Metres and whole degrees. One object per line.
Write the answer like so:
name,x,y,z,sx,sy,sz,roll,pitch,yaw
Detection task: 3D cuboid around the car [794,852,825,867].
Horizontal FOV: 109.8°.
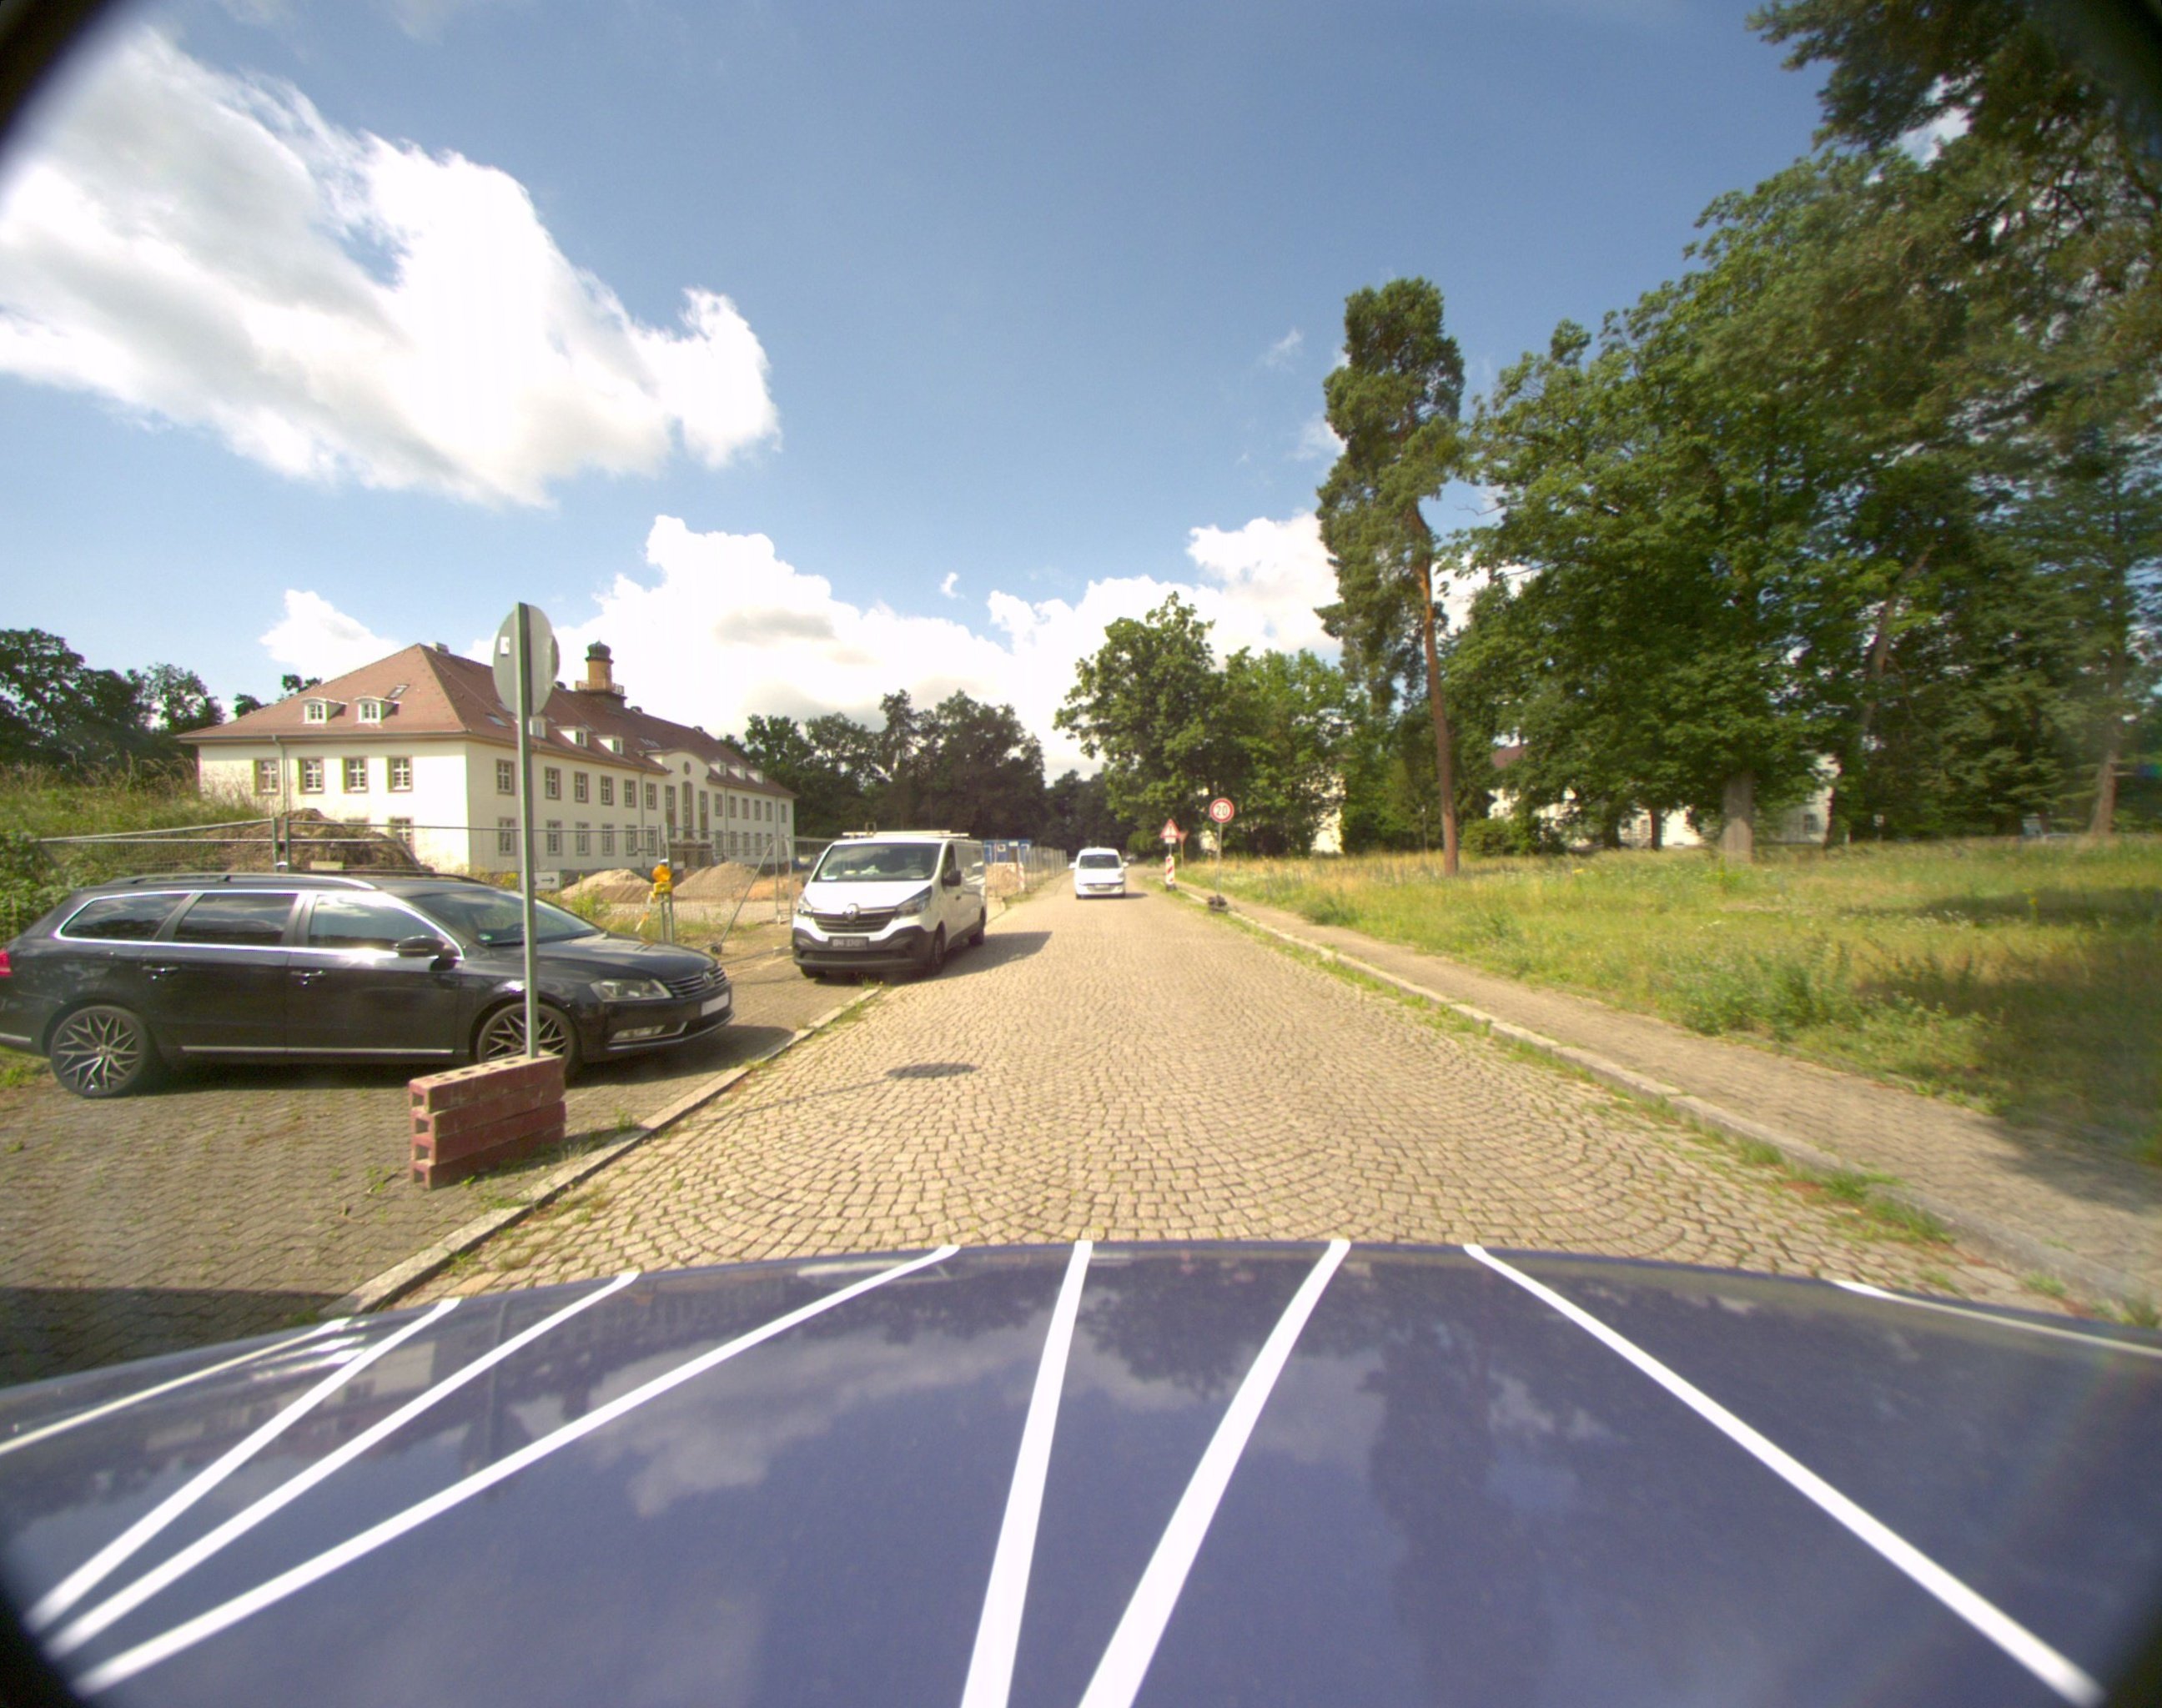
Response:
car,-33.187,0.699,92.966,1.884,1.718,4.708,-1,1,2

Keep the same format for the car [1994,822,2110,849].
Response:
car,54.398,-1.008,42.615,4.068,1.404,1.900,-1,1,0

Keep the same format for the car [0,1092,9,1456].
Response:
car,-5.147,1.016,1.305,3.997,1.498,1.746,0,1,-2

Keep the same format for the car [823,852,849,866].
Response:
car,-30.007,0.591,93.194,1.802,1.674,4.040,-1,1,2

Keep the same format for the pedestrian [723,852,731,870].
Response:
pedestrian,-34.933,0.694,74.889,0.491,1.777,0.506,-2,1,-2

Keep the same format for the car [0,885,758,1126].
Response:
car,-5.115,1.026,5.882,4.466,1.467,1.745,0,1,-3

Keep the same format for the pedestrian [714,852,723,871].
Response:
pedestrian,-35.063,0.712,73.434,0.490,1.777,0.507,-1,1,24

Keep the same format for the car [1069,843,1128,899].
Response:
car,0.550,0.596,28.023,1.839,1.857,4.830,-1,-1,-3

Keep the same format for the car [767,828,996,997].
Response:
car,-2.757,0.682,12.108,1.918,2.041,5.678,-1,1,2

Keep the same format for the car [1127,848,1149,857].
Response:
car,10.491,-0.242,140.126,4.083,1.634,1.767,-1,1,0

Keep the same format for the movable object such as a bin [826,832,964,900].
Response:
movable object such as a bin,-7.377,0.449,30.873,2.144,2.507,5.667,0,0,30
